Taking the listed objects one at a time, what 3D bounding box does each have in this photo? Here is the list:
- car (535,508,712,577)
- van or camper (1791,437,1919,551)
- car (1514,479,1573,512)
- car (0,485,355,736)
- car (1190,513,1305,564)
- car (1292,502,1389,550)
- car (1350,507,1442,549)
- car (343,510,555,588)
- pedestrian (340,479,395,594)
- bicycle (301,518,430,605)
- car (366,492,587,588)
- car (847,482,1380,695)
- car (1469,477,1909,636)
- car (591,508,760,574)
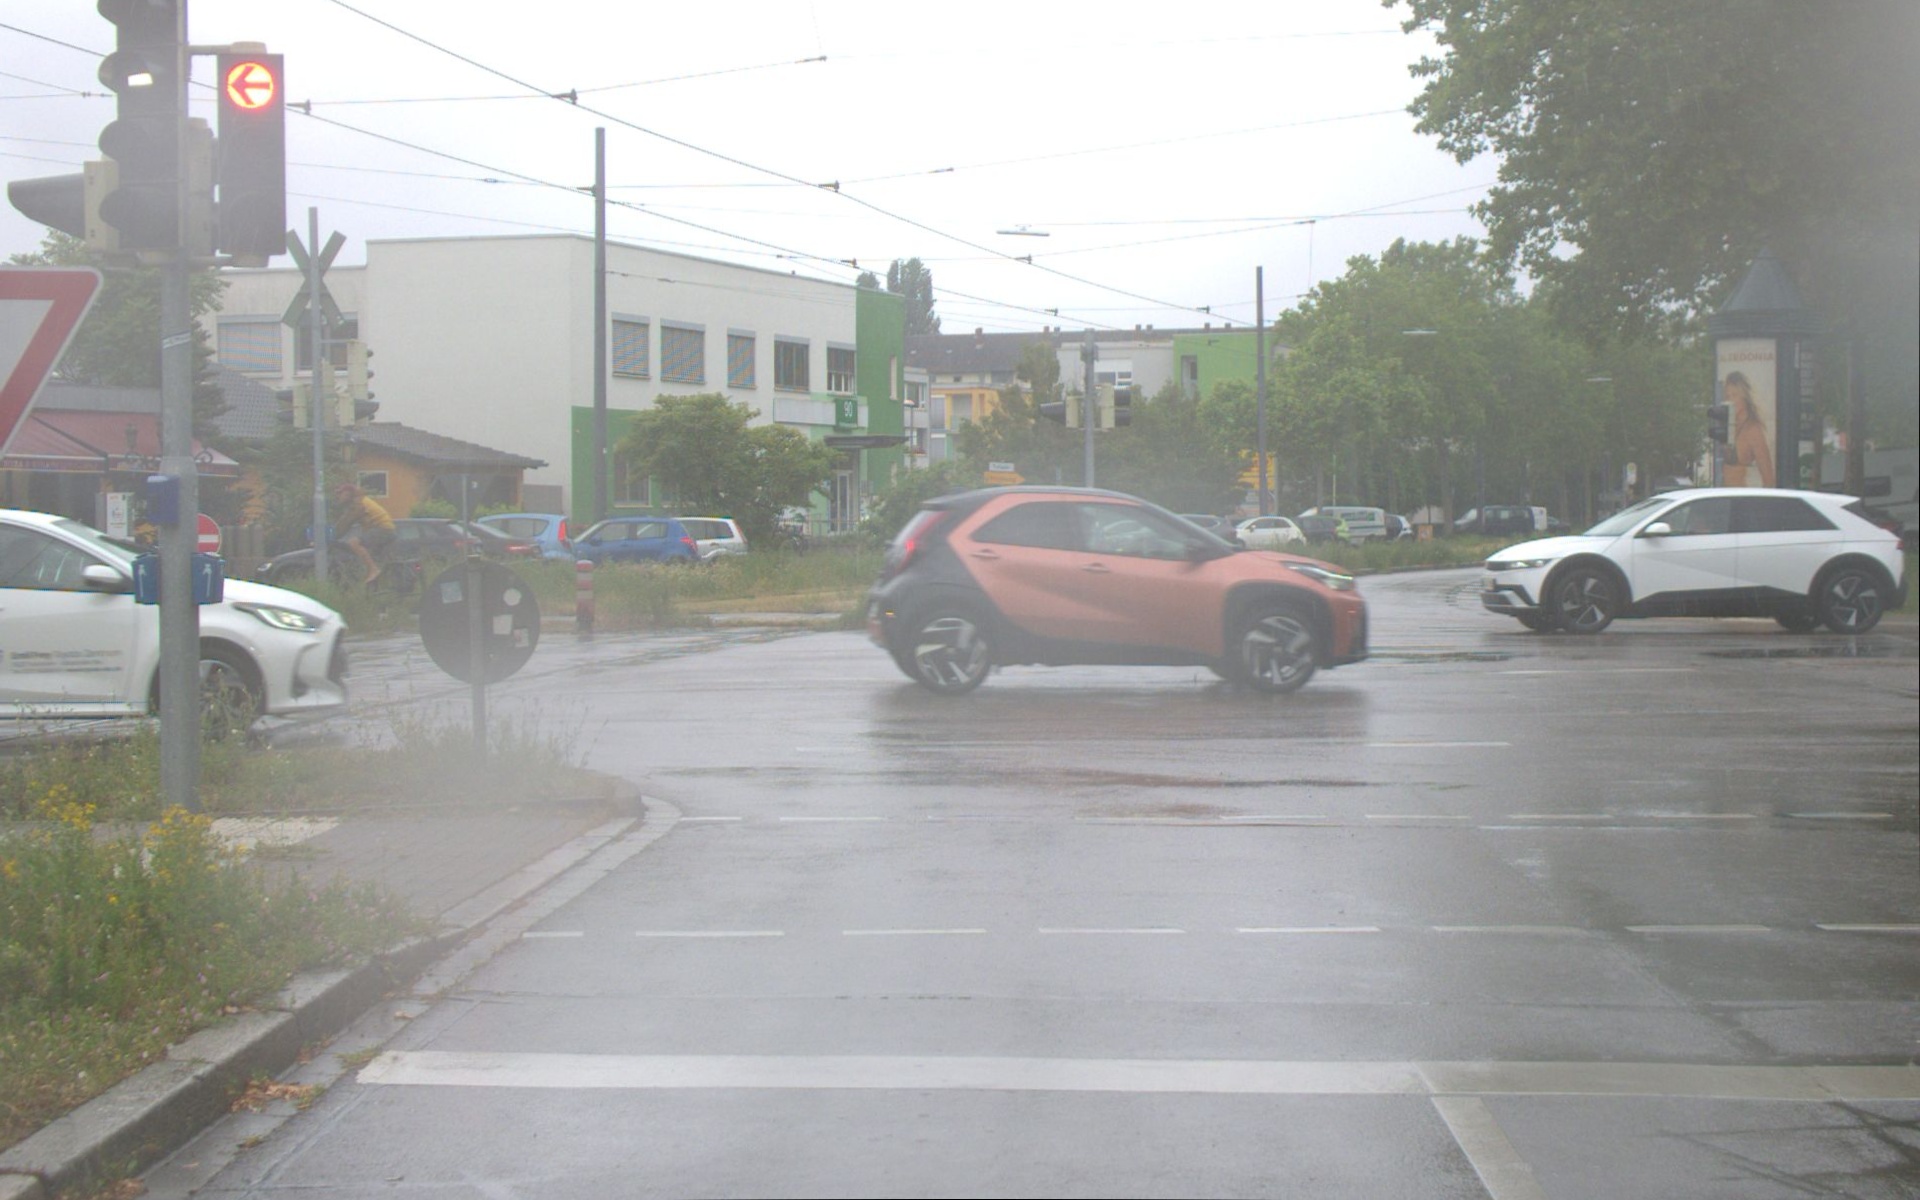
[{"bbox_3d":[-7.327,-1.260,74.799,3.749,1.437,1.763,-1,1,-6],"label":"car"},{"bbox_3d":[23.174,-2.575,84.247,5.225,2.688,2.241,2,2,18],"label":"van or camper"},{"bbox_3d":[36.747,-6.581,216.541,3.446,2.007,1.806,-1,1,17],"label":"car"},{"bbox_3d":[-5.936,0.060,21.673,4.064,1.493,1.652,-1,1,-7],"label":"car"},{"bbox_3d":[10.976,-2.360,131.354,4.134,1.853,1.674,-1,1,-4],"label":"car"},{"bbox_3d":[16.505,-3.214,149.175,4.136,1.969,1.673,-1,1,6],"label":"car"},{"bbox_3d":[20.083,-3.335,158.405,4.136,1.853,1.673,-1,1,6],"label":"car"},{"bbox_3d":[-9.842,-0.994,66.398,3.750,1.437,1.762,-1,1,3],"label":"car"},{"bbox_3d":[-7.675,-0.827,44.566,0.576,1.470,0.500,-1,1,4],"label":"pedestrian"},{"bbox_3d":[-7.703,-0.503,44.567,1.562,1.098,0.500,-1,1,4],"label":"bicycle"},{"bbox_3d":[-9.811,-1.224,69.851,4.136,1.853,1.673,-1,1,6],"label":"car"},{"bbox_3d":[1.113,-0.106,26.042,3.817,1.493,1.652,-1,1,-5],"label":"car"},{"bbox_3d":[8.045,-0.489,38.134,4.460,1.650,1.652,-1,1,-6],"label":"car"},{"bbox_3d":[-6.482,-1.349,78.081,3.749,1.437,1.763,-1,1,-6],"label":"car"}]
